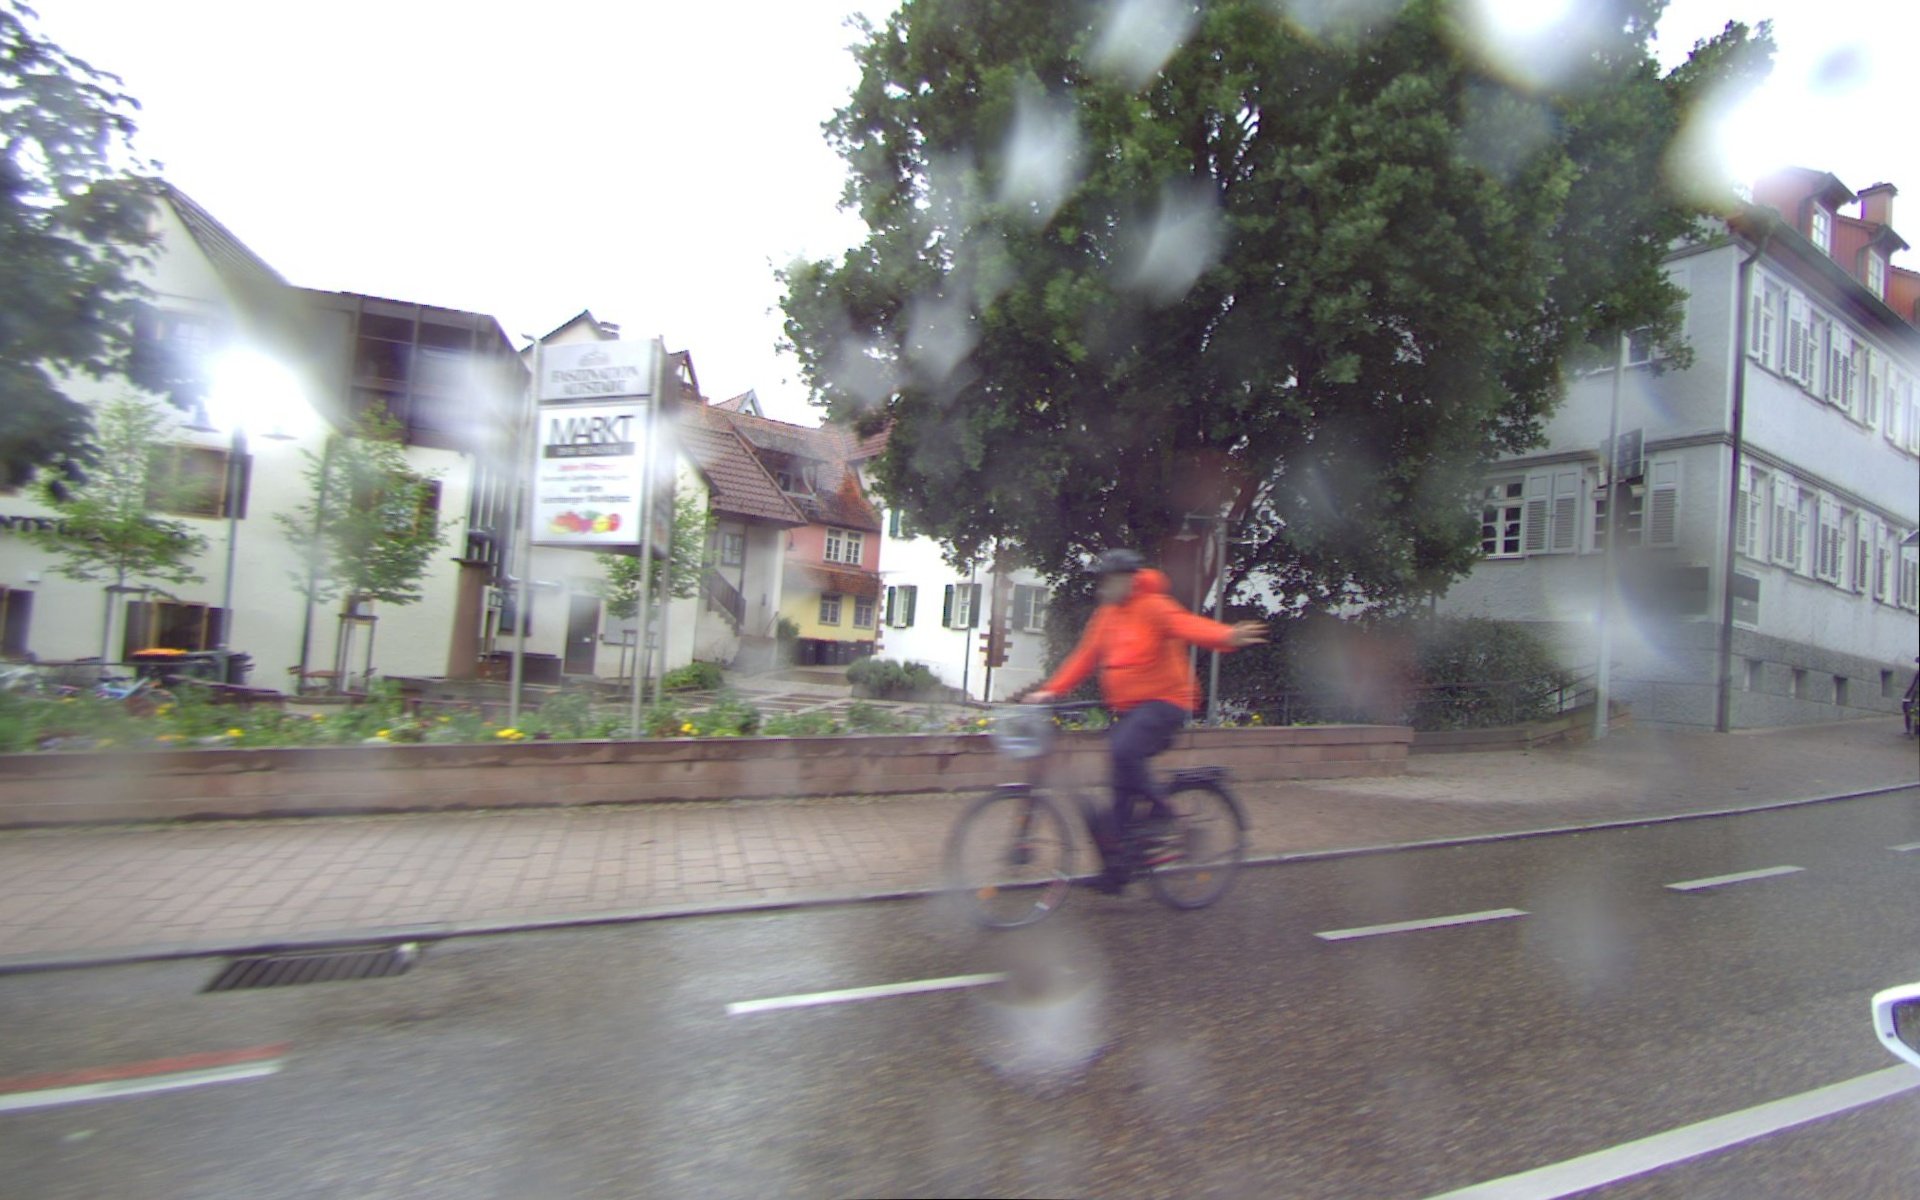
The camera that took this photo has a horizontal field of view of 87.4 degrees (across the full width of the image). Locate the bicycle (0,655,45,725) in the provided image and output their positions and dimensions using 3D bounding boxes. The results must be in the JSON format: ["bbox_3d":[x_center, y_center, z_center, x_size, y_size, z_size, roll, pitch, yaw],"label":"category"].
[{"bbox_3d":[-13.795,1.237,13.987,1.455,0.924,0.389,5,1,-33],"label":"bicycle"}]

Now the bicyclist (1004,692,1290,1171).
[{"bbox_3d":[0.922,1.548,5.174,0.868,2.040,1.133,4,-3,-24],"label":"bicyclist"}]

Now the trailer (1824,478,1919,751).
[{"bbox_3d":[14.559,0.239,14.355,4.522,3.581,1.983,1,0,-31],"label":"trailer"}]

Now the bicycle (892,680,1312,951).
[{"bbox_3d":[0.782,1.052,5.328,2.128,1.178,0.745,3,-3,-26],"label":"bicycle"}]

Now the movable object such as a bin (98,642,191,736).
[{"bbox_3d":[-12.220,1.318,15.072,0.673,1.293,0.747,6,-1,-7],"label":"movable object such as a bin"}]

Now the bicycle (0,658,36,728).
[{"bbox_3d":[-13.589,1.246,13.621,1.455,0.924,0.389,5,1,-33],"label":"bicycle"}]
